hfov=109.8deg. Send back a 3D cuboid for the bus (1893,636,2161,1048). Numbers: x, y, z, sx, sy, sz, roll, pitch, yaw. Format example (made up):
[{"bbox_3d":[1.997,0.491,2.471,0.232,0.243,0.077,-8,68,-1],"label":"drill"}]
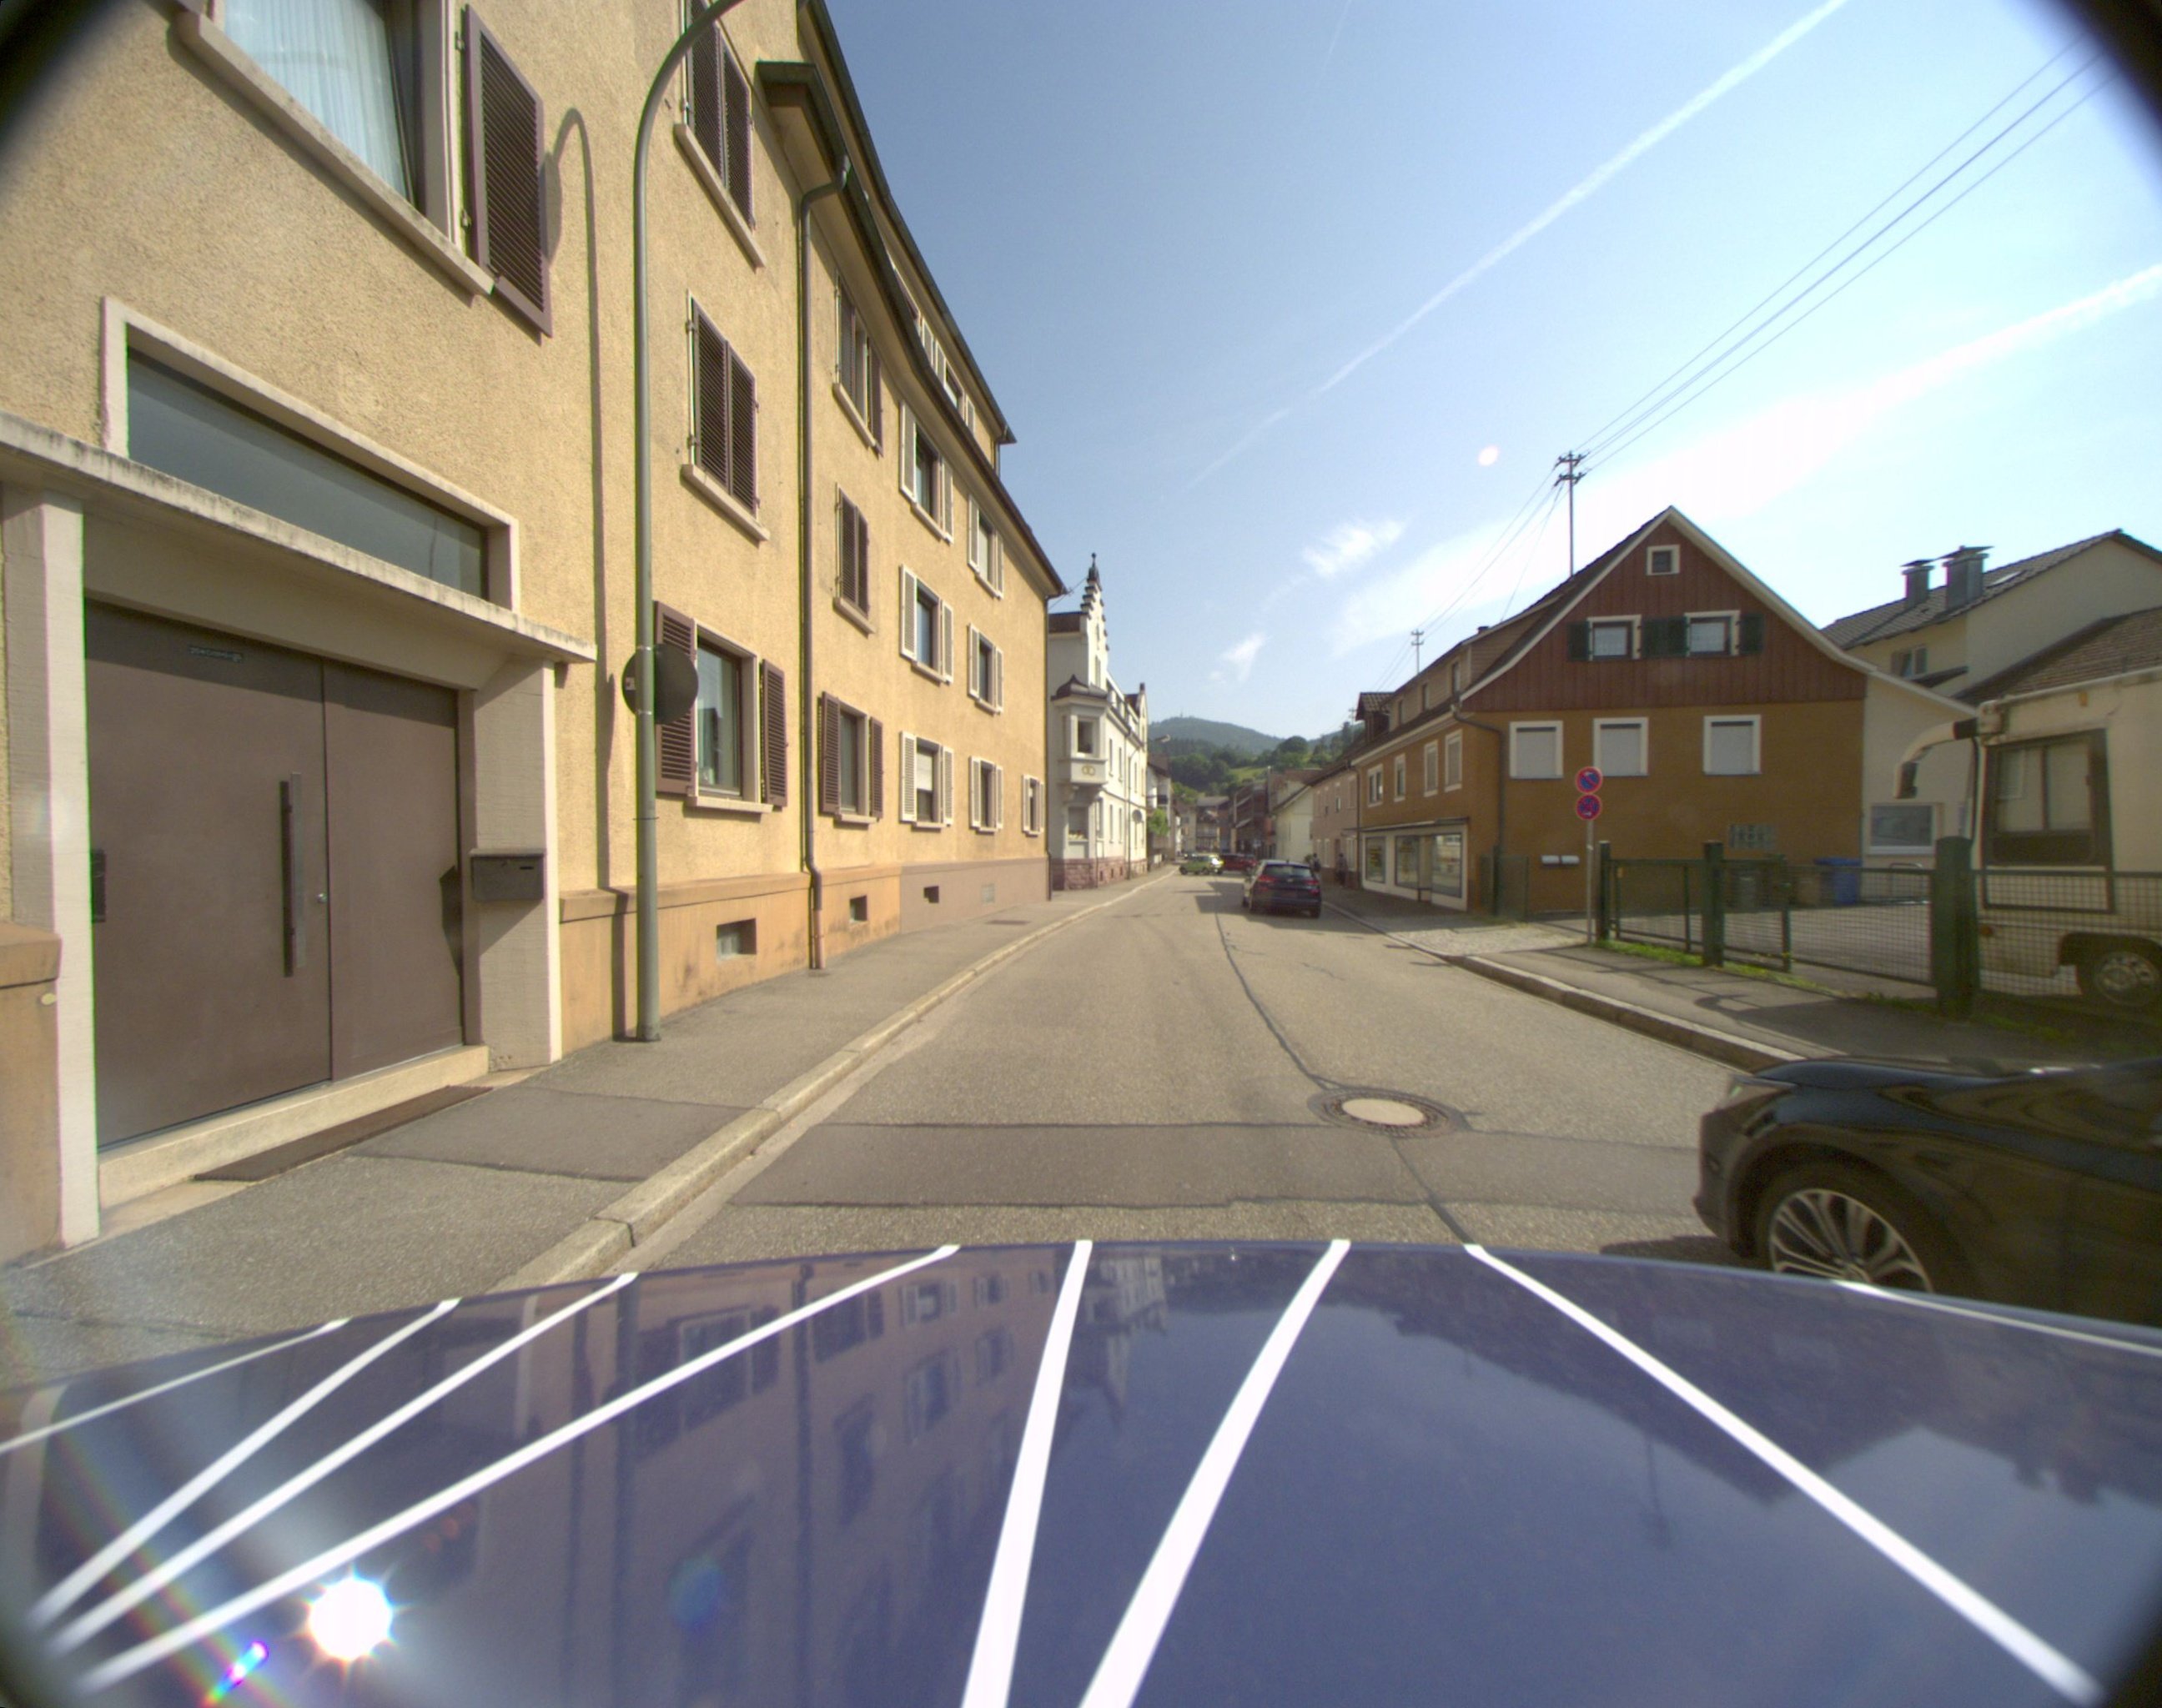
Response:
[{"bbox_3d":[9.567,-0.126,3.412,2.826,3.209,9.039,-2,0,6],"label":"bus"}]

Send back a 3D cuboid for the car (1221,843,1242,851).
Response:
[{"bbox_3d":[30.066,-1.364,151.771,3.997,1.674,1.835,0,-1,0],"label":"car"}]

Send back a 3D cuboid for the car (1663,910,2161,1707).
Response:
[{"bbox_3d":[2.918,0.956,0.489,1.663,1.440,4.258,3,0,-2],"label":"car"}]

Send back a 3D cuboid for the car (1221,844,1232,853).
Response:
[{"bbox_3d":[27.439,-1.125,143.211,1.785,1.566,3.890,-3,0,8],"label":"car"}]

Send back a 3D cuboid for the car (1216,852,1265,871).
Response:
[{"bbox_3d":[14.642,0.691,69.651,3.988,1.652,1.828,0,-1,38],"label":"car"}]

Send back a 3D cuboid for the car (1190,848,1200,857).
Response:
[{"bbox_3d":[24.262,-0.309,161.671,1.742,2.002,3.840,0,0,3],"label":"car"}]

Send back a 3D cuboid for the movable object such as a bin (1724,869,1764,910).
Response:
[{"bbox_3d":[15.072,0.803,17.280,0.478,0.917,0.486,-1,1,9],"label":"movable object such as a bin"}]

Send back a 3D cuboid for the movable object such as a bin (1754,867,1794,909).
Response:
[{"bbox_3d":[15.684,0.757,17.199,0.478,0.917,0.486,-1,1,9],"label":"movable object such as a bin"}]

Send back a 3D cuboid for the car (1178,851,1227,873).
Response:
[{"bbox_3d":[9.241,0.595,58.027,1.605,1.456,3.648,3,1,-34],"label":"car"}]

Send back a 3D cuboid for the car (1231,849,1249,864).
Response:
[{"bbox_3d":[18.655,0.270,89.286,1.723,1.786,4.271,0,1,6],"label":"car"}]

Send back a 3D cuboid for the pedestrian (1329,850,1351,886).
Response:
[{"bbox_3d":[11.316,0.617,33.255,0.736,1.555,0.825,-2,1,10],"label":"pedestrian"}]

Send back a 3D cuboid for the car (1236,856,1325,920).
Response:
[{"bbox_3d":[5.405,0.852,21.071,1.751,1.445,4.029,4,1,7],"label":"car"}]

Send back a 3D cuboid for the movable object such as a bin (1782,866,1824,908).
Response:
[{"bbox_3d":[16.233,0.729,17.085,0.478,0.917,0.486,-1,1,9],"label":"movable object such as a bin"}]

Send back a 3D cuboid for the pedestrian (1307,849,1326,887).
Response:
[{"bbox_3d":[10.355,0.620,33.423,0.640,1.617,0.778,-2,0,10],"label":"pedestrian"}]

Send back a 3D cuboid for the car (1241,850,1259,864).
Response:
[{"bbox_3d":[18.773,0.360,84.374,1.669,1.423,3.571,-1,0,9],"label":"car"}]

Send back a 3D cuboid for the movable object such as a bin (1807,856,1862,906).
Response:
[{"bbox_3d":[16.969,0.603,17.124,0.544,1.087,0.745,-1,0,9],"label":"movable object such as a bin"}]

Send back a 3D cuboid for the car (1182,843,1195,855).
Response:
[{"bbox_3d":[18.540,-0.804,131.079,1.998,2.002,4.000,-1,1,4],"label":"car"}]
